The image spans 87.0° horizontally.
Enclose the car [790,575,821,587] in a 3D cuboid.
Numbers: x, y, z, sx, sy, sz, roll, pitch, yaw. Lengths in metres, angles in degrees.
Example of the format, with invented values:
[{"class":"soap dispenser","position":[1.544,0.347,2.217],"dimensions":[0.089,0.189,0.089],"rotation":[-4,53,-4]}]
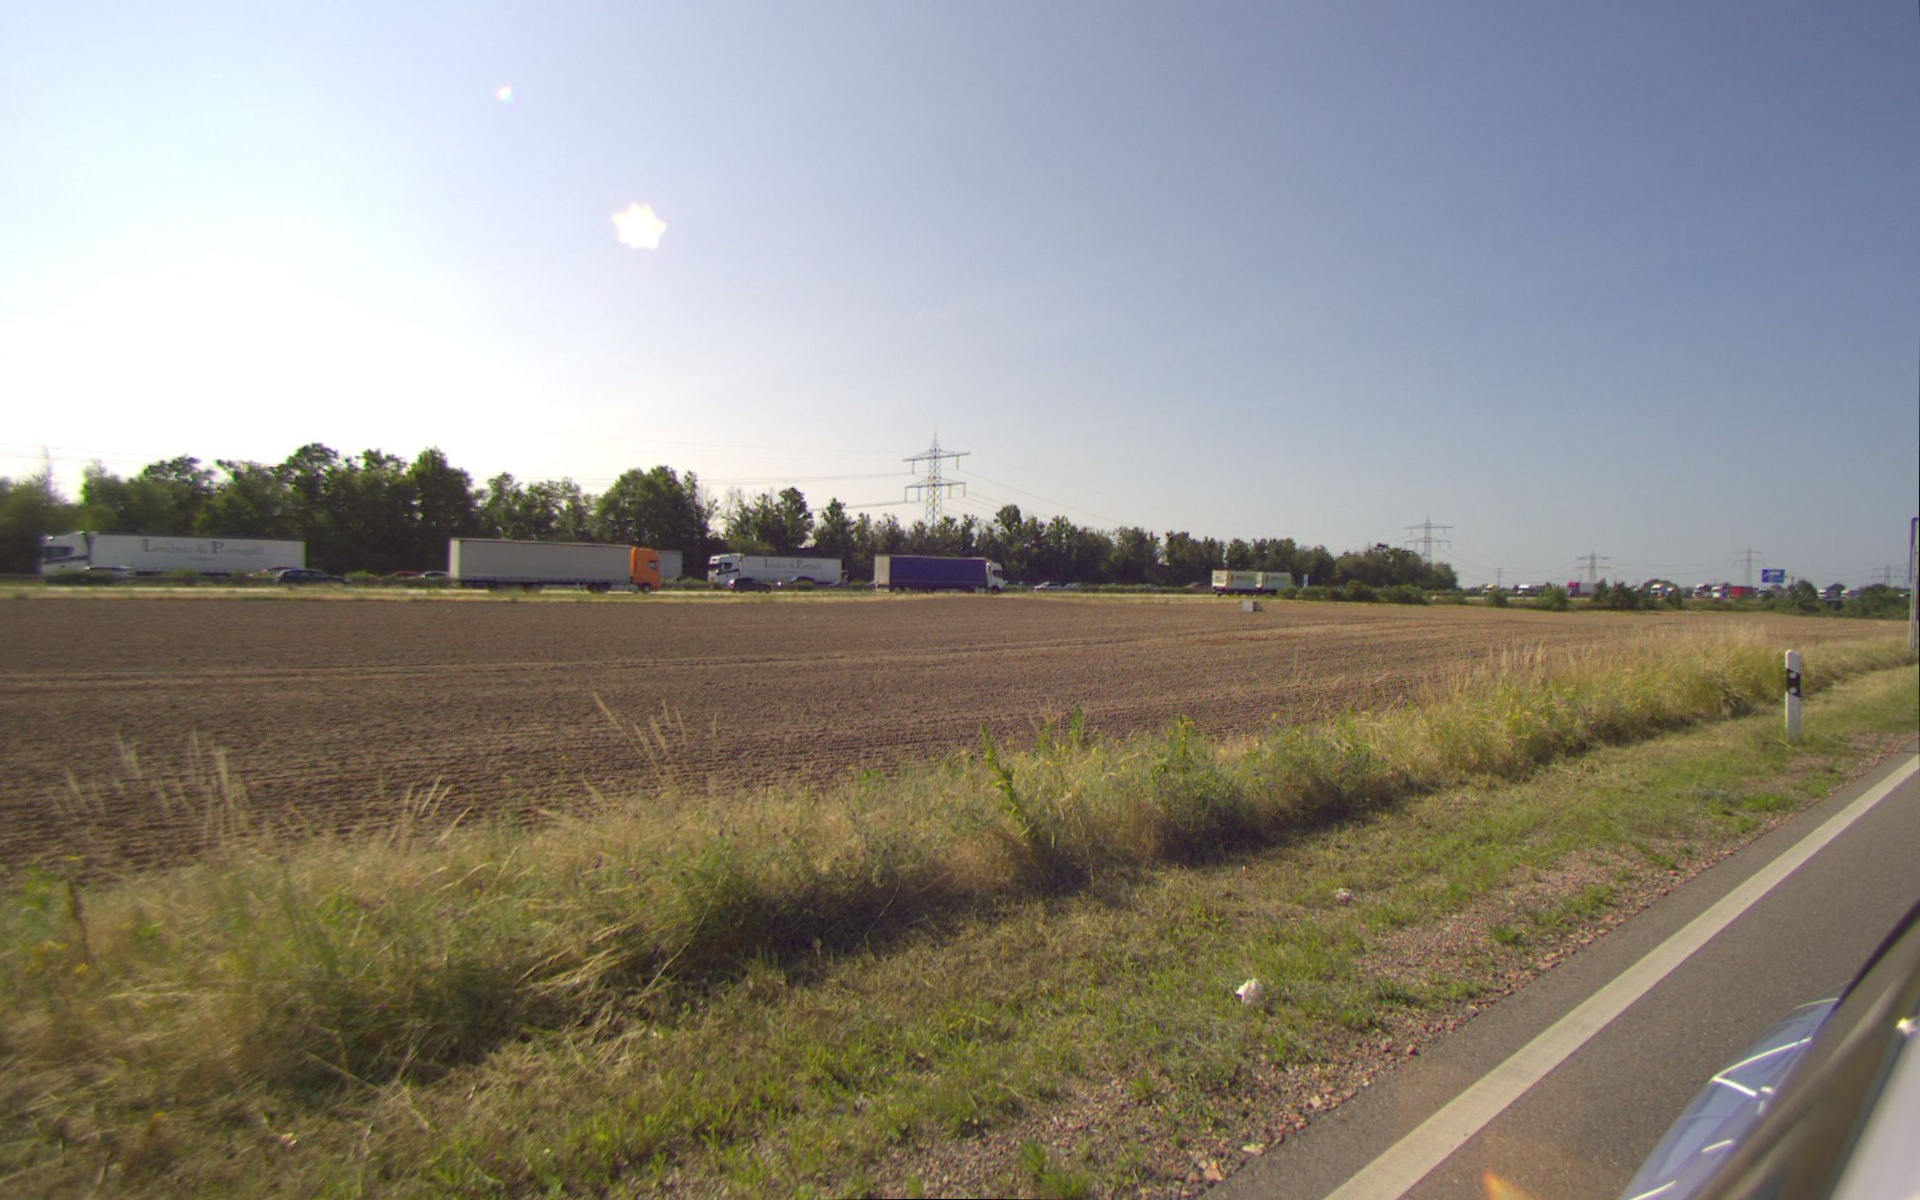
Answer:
[{"class":"car","position":[-16.919,-2.116,110.757],"dimensions":[3.236,1.234,1.342],"rotation":[0,1,-43]}]

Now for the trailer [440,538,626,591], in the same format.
[{"class":"trailer","position":[-33.901,-2.710,81.043],"dimensions":[13.479,3.897,3.108],"rotation":[0,0,-41]}]

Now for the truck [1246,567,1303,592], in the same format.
[{"class":"truck","position":[46.990,-3.003,150.798],"dimensions":[10.928,3.521,2.810],"rotation":[0,1,-42]}]

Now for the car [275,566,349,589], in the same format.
[{"class":"car","position":[-47.427,-1.629,74.145],"dimensions":[4.393,1.633,1.910],"rotation":[0,0,-39]}]

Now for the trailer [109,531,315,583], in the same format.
[{"class":"trailer","position":[-59.984,-3.343,81.591],"dimensions":[13.128,3.780,3.078],"rotation":[0,1,-40]}]

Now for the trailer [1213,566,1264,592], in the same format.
[{"class":"trailer","position":[39.716,-2.979,144.329],"dimensions":[8.567,3.458,2.797],"rotation":[0,1,-42]}]

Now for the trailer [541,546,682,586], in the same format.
[{"class":"trailer","position":[-35.420,-3.374,103.516],"dimensions":[13.542,3.780,2.950],"rotation":[0,1,-41]}]

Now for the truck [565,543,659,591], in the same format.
[{"class":"truck","position":[-29.212,-2.703,85.134],"dimensions":[6.829,3.897,3.108],"rotation":[0,0,-41]}]

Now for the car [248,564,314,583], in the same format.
[{"class":"car","position":[-53.747,-2.083,80.162],"dimensions":[4.174,1.403,1.853],"rotation":[1,0,-41]}]

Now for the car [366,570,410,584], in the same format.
[{"class":"car","position":[-50.969,-2.051,90.191],"dimensions":[3.235,1.234,1.342],"rotation":[0,0,-42]}]

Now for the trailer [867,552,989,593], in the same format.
[{"class":"trailer","position":[-3.182,-2.757,106.903],"dimensions":[14.342,3.850,3.076],"rotation":[1,0,-43]}]

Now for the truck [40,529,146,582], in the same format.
[{"class":"truck","position":[-65.645,-3.338,76.785],"dimensions":[6.009,3.780,3.078],"rotation":[0,1,-40]}]

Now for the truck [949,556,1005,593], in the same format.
[{"class":"truck","position":[1.925,-2.752,111.575],"dimensions":[5.515,3.850,3.076],"rotation":[1,0,-42]}]

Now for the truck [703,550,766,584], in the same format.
[{"class":"truck","position":[-24.960,-3.610,112.099],"dimensions":[6.003,3.575,3.208],"rotation":[0,2,-41]}]

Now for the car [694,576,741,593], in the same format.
[{"class":"car","position":[-22.867,-1.437,95.430],"dimensions":[3.825,1.595,1.997],"rotation":[0,0,-41]}]

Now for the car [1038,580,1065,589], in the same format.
[{"class":"car","position":[12.193,-2.101,134.596],"dimensions":[3.795,1.139,1.343],"rotation":[0,0,-41]}]

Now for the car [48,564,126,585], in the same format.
[{"class":"car","position":[-62.416,-1.792,72.447],"dimensions":[4.174,1.403,1.853],"rotation":[1,0,-41]}]

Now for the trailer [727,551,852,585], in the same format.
[{"class":"trailer","position":[-19.488,-3.605,116.941],"dimensions":[14.821,3.575,3.208],"rotation":[0,2,-42]}]
